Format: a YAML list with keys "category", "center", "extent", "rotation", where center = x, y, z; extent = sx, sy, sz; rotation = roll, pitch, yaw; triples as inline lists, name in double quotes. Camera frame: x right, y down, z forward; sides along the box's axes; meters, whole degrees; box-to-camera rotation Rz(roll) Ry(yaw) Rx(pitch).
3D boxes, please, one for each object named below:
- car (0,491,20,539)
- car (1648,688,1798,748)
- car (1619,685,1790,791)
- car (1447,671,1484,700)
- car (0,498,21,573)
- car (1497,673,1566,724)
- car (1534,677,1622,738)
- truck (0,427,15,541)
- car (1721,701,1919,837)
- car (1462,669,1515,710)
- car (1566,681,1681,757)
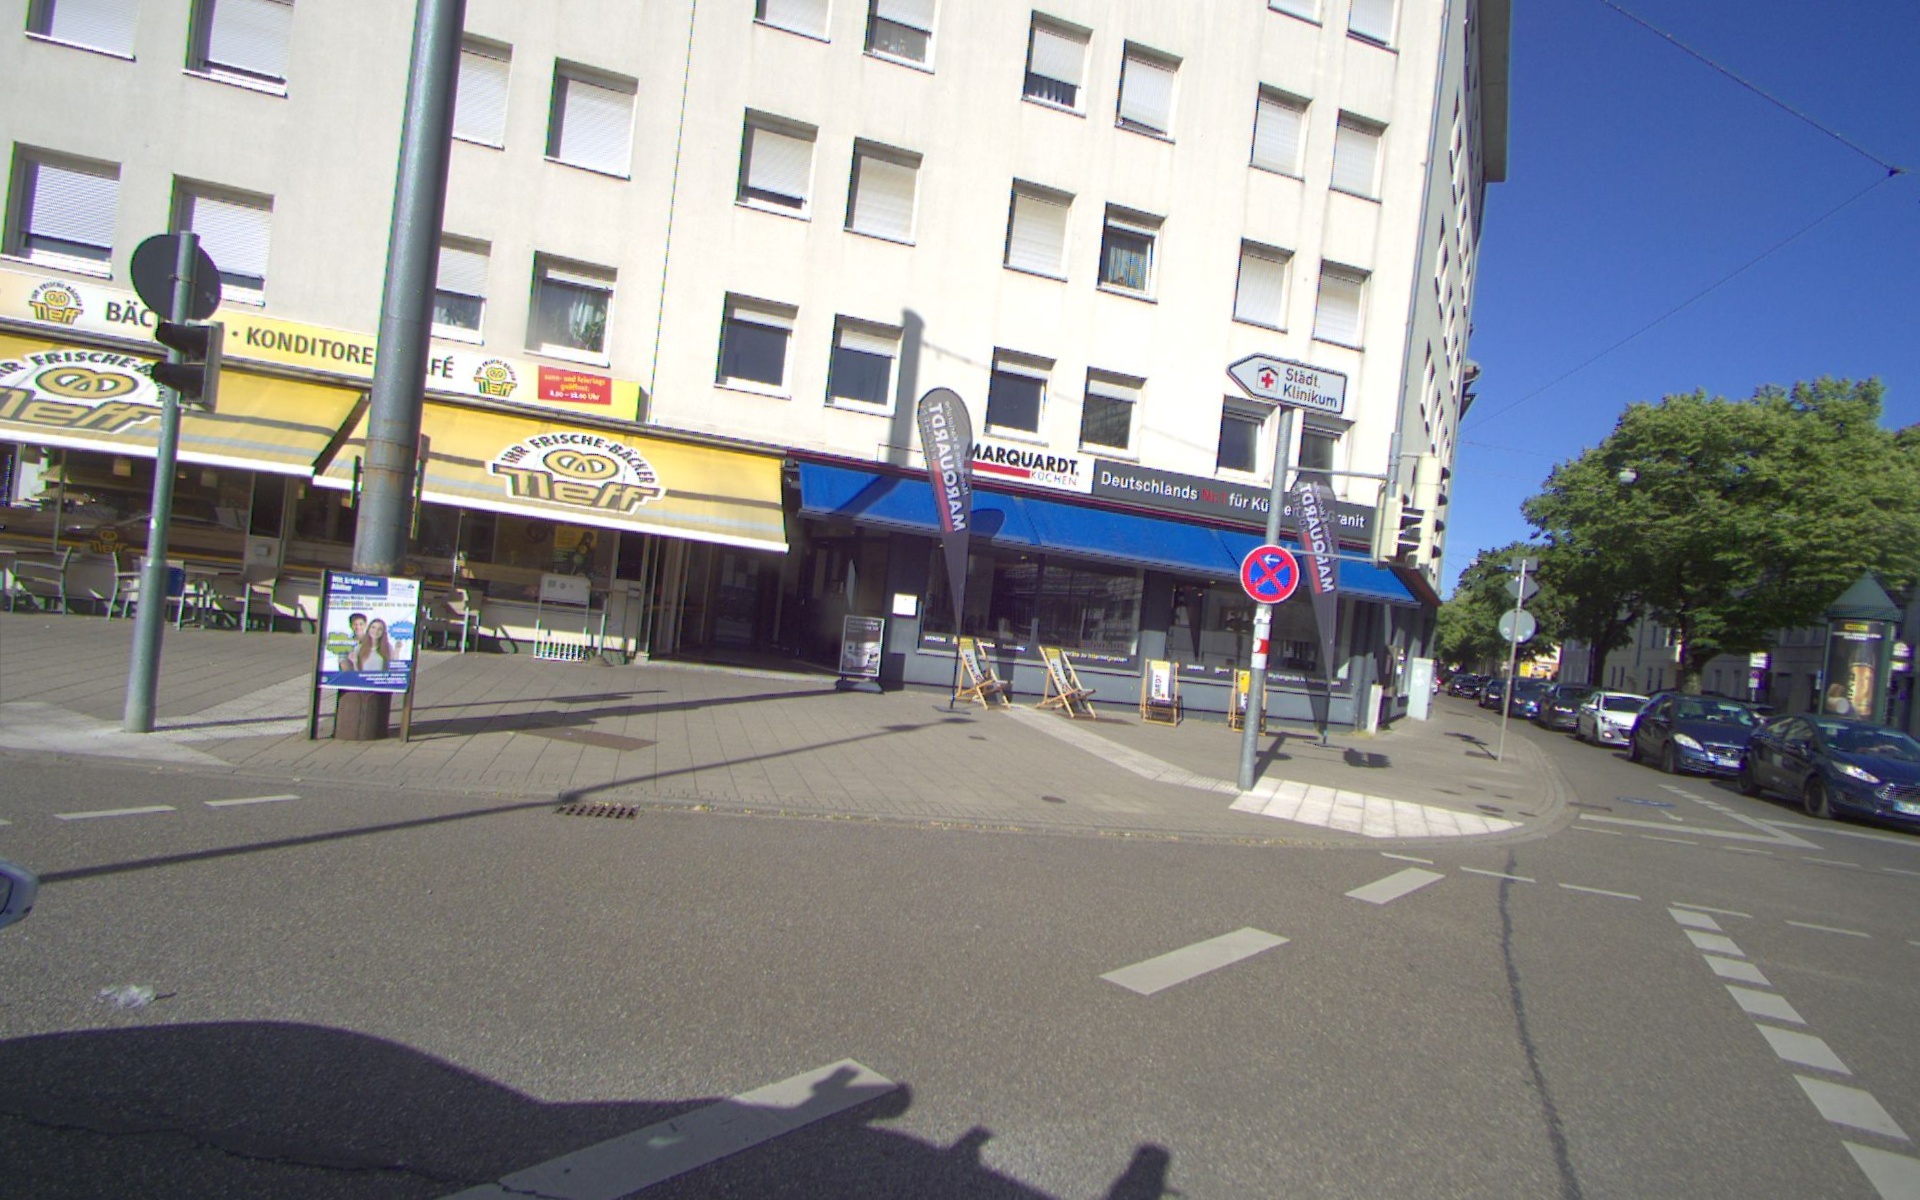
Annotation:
- category: "car"
  center: [-33.537, -3.070, 33.117]
  extent: [3.924, 1.521, 1.850]
  rotation: [7, -1, 14]
- category: "car"
  center: [28.649, 4.423, 37.873]
  extent: [1.981, 1.593, 3.964]
  rotation: [6, 0, -34]
- category: "car"
  center: [14.887, 2.680, 20.368]
  extent: [1.628, 1.600, 3.999]
  rotation: [7, -1, 21]
- category: "car"
  center: [32.691, 5.501, 65.091]
  extent: [1.628, 1.600, 3.770]
  rotation: [7, -1, 21]
- category: "car"
  center: [-19.521, -1.349, 18.585]
  extent: [1.577, 1.481, 3.660]
  rotation: [7, -1, -16]
- category: "car"
  center: [22.216, 3.788, 39.233]
  extent: [1.628, 1.600, 3.770]
  rotation: [7, -1, 21]
- category: "car"
  center: [20.116, 3.468, 32.891]
  extent: [1.628, 1.600, 3.770]
  rotation: [7, -1, 21]
- category: "truck"
  center: [-32.112, -3.851, 29.642]
  extent: [7.186, 3.335, 2.548]
  rotation: [6, 0, 14]
- category: "car"
  center: [13.175, 2.451, 15.000]
  extent: [1.702, 1.471, 3.999]
  rotation: [8, 0, 21]
- category: "car"
  center: [24.948, 4.202, 47.594]
  extent: [1.628, 1.600, 3.770]
  rotation: [7, -1, 21]
- category: "car"
  center: [17.813, 3.132, 27.211]
  extent: [1.628, 1.600, 3.999]
  rotation: [7, -1, 21]
